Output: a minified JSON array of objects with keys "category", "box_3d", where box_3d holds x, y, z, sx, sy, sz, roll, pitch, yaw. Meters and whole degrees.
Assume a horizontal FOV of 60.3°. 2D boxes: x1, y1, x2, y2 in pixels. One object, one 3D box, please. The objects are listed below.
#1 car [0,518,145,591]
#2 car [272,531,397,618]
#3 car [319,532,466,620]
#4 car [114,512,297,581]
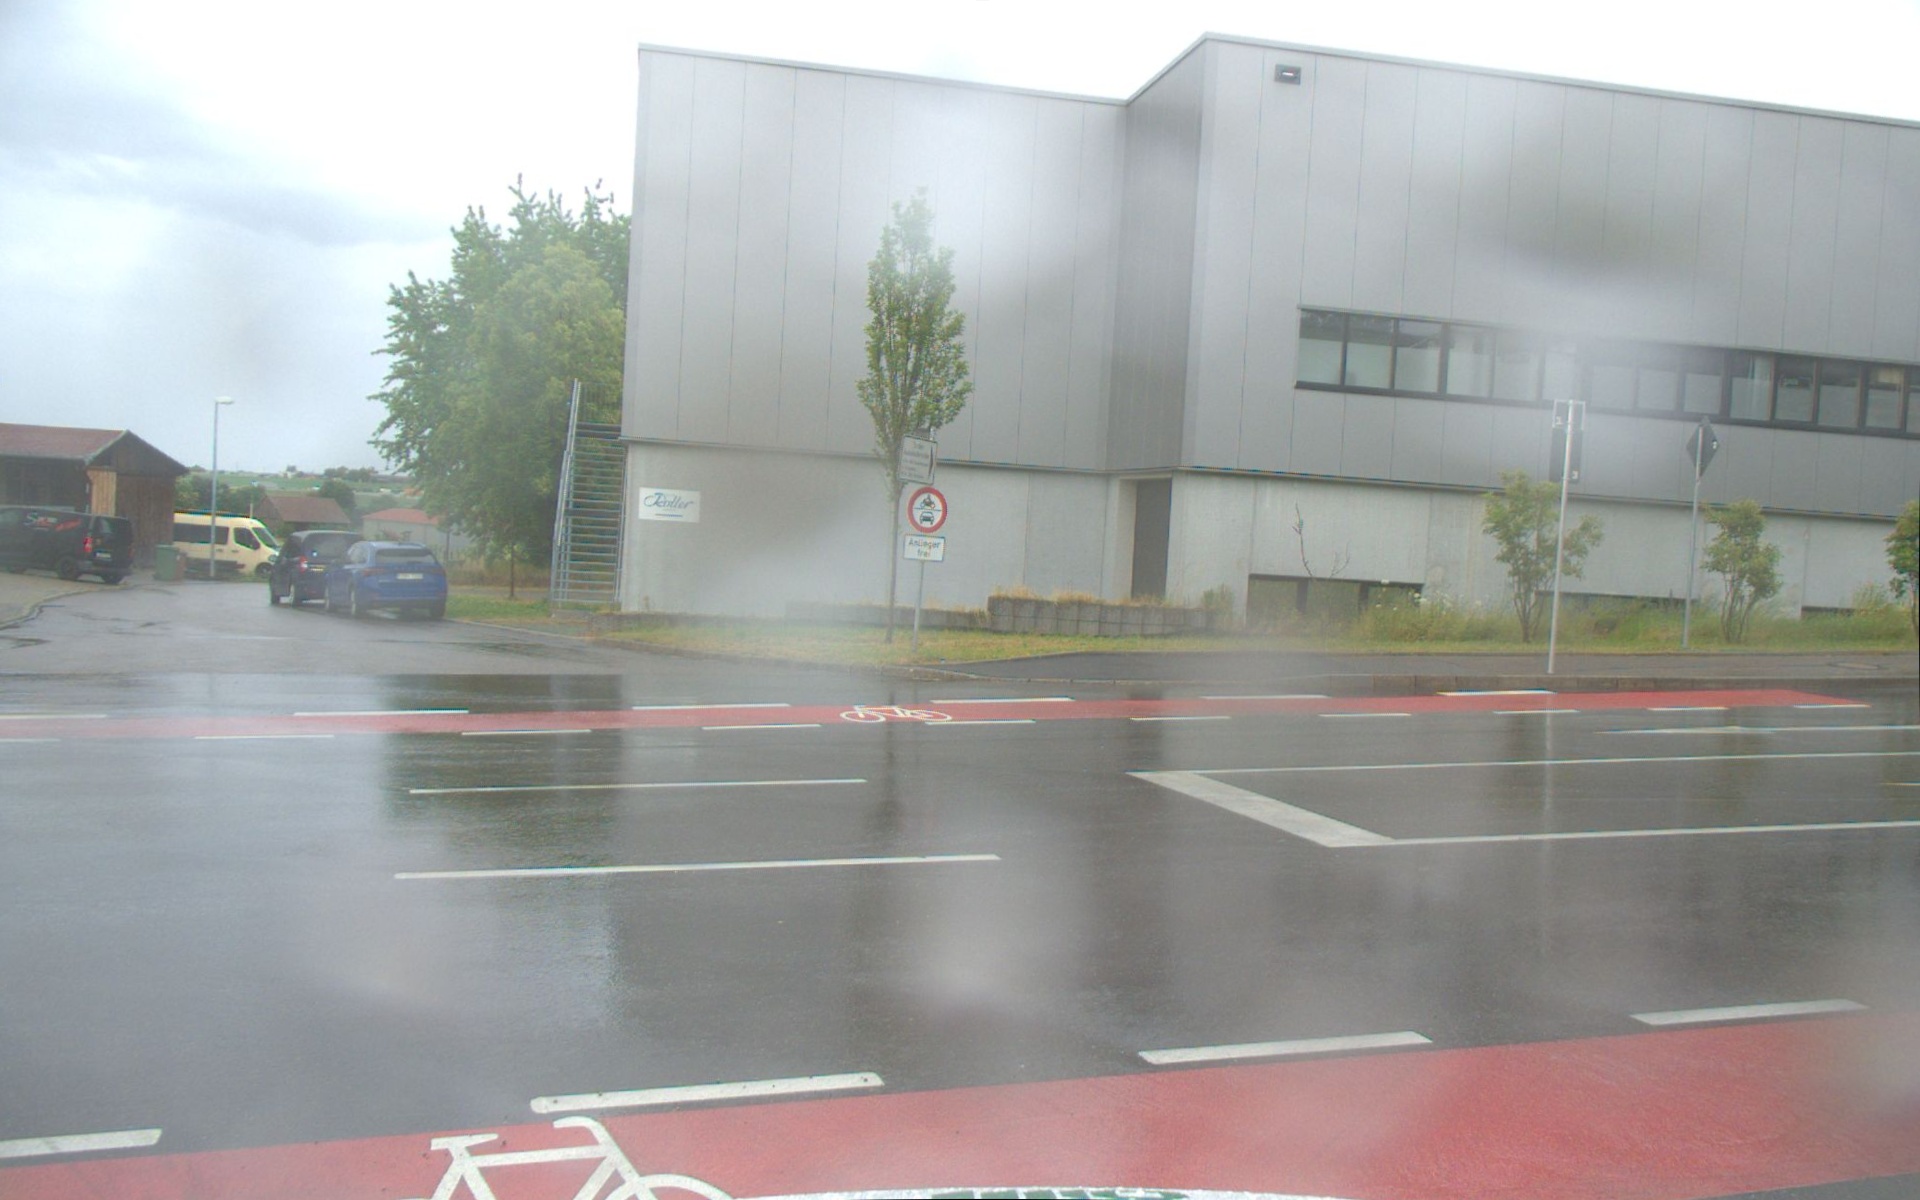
[{"category":"car","box_3d":[-25.368,-1.283,46.374,4.303,1.938,2.001,2,1,17]},{"category":"car","box_3d":[-14.667,-0.601,38.648,2.052,1.867,4.426,1,1,-30]},{"category":"car","box_3d":[-11.532,-0.485,33.442,1.932,1.638,4.400,1,1,-31]},{"category":"car","box_3d":[-29.057,-2.035,63.897,5.892,2.457,2.460,1,0,-6]}]
